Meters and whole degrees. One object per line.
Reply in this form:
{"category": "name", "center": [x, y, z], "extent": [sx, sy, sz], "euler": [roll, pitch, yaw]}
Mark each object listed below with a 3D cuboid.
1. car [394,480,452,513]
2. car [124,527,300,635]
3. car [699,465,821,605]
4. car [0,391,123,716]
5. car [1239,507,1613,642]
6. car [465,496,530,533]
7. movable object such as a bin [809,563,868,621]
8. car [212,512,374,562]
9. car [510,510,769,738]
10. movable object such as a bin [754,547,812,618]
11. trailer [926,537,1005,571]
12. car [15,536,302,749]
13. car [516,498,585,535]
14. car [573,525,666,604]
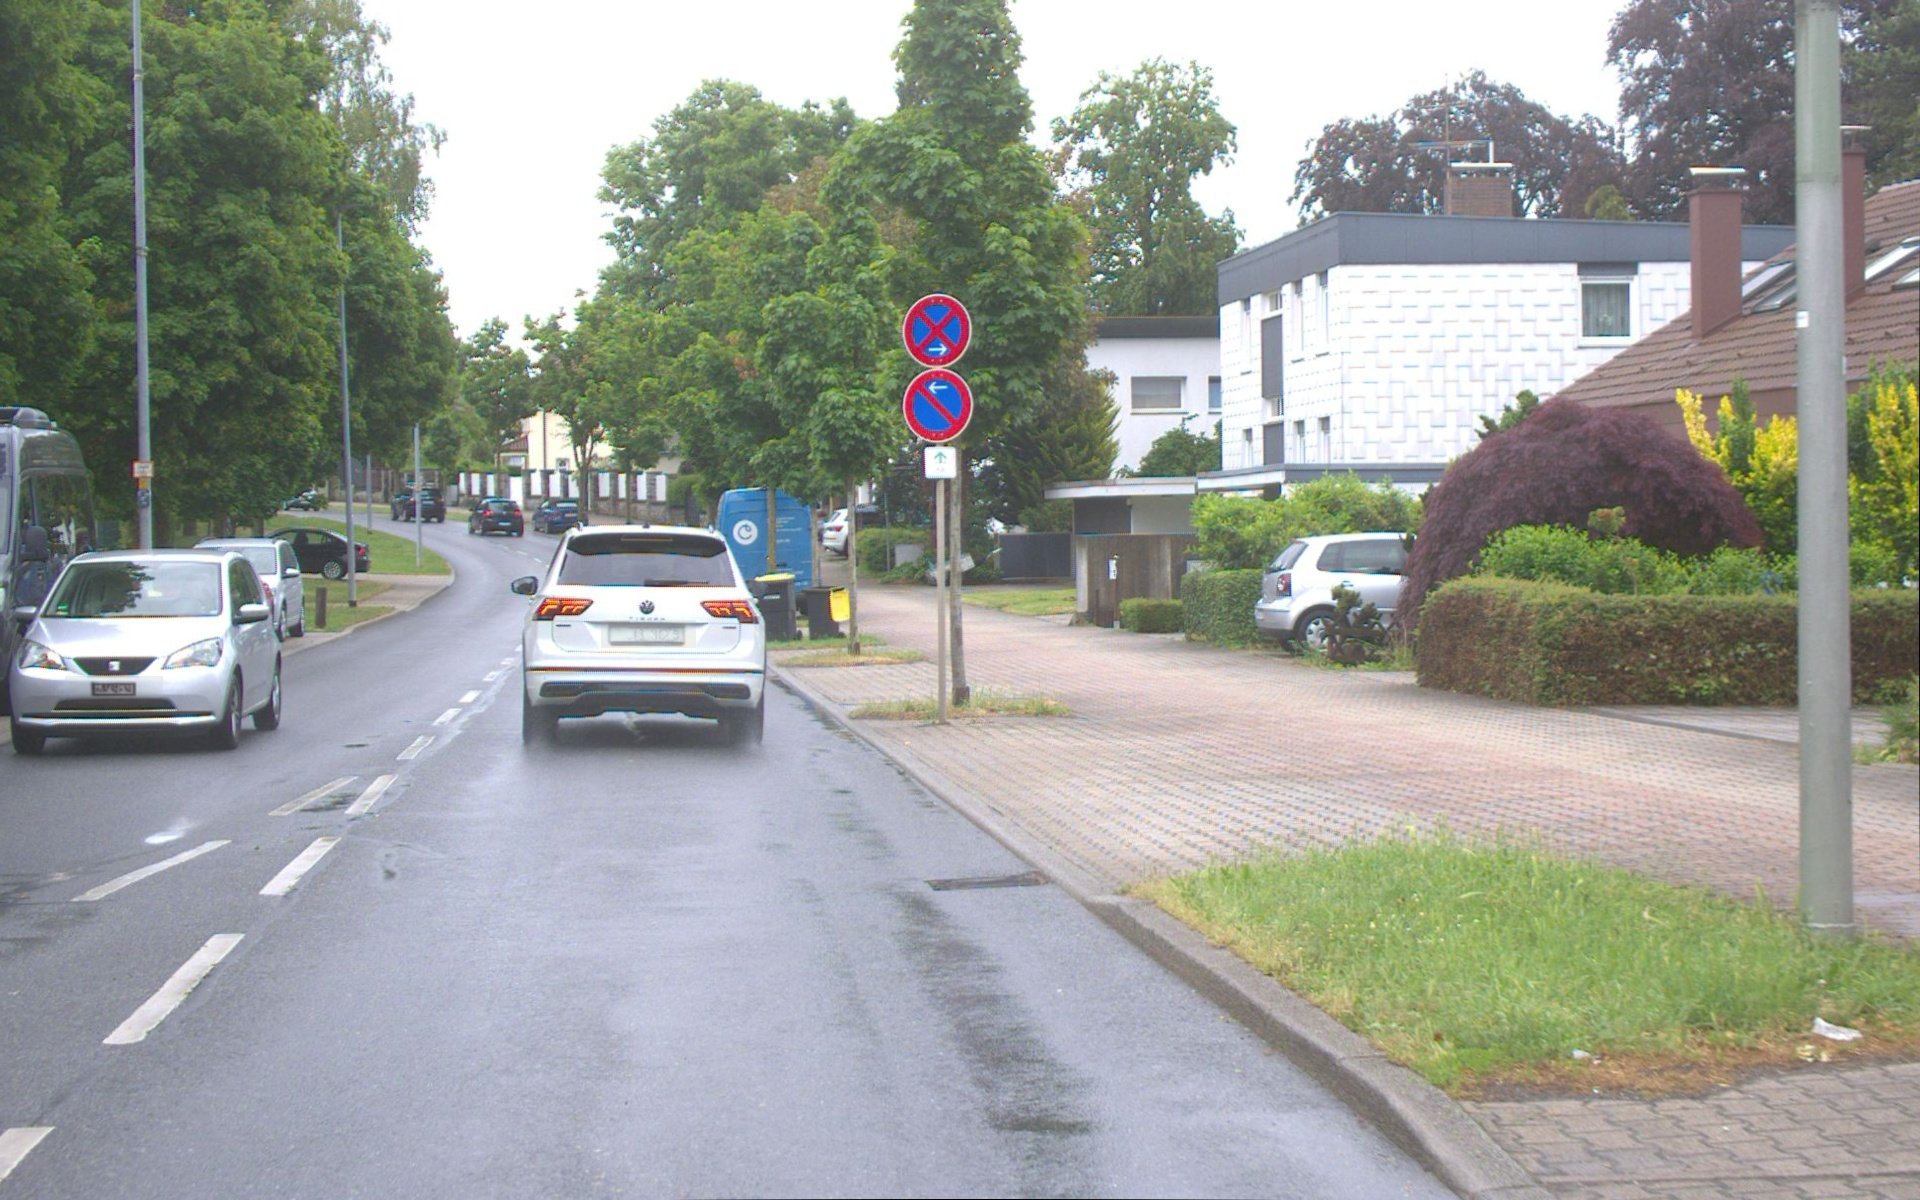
{"category": "car", "center": [-24.264, -4.696, 155.250], "extent": [1.642, 1.422, 4.001], "euler": [-1, 3, -23]}
{"category": "car", "center": [-10.675, -0.310, 49.349], "extent": [1.993, 1.398, 4.558], "euler": [-1, 2, -7]}
{"category": "car", "center": [-4.038, -1.327, 68.482], "extent": [1.993, 2.577, 5.635], "euler": [-3, 2, -6]}
{"category": "car", "center": [-9.153, -0.480, 31.657], "extent": [1.993, 2.719, 5.939], "euler": [0, 2, -6]}
{"category": "car", "center": [5.463, -0.316, 40.550], "extent": [3.986, 1.437, 1.848], "euler": [-2, 1, -7]}
{"category": "car", "center": [-18.843, -3.486, 139.913], "extent": [1.642, 1.422, 4.001], "euler": [-1, 3, -23]}
{"category": "movable object such as a bin", "center": [-1.831, -0.121, 51.739], "extent": [0.660, 0.797, 0.600], "euler": [-4, 1, 20]}
{"category": "car", "center": [-18.570, -1.762, 95.874], "extent": [4.218, 1.358, 1.690], "euler": [0, 2, -1]}
{"category": "car", "center": [-2.555, 0.145, 27.010], "extent": [1.865, 1.645, 4.001], "euler": [0, 1, -7]}
{"category": "movable object such as a bin", "center": [-2.684, -0.270, 52.157], "extent": [0.614, 1.011, 0.562], "euler": [-5, 0, 20]}
{"category": "trailer", "center": [0.142, -1.224, 91.888], "extent": [2.042, 0.880, 1.365], "euler": [0, 2, -3]}
{"category": "car", "center": [-6.063, 0.269, 26.337], "extent": [1.594, 1.459, 3.453], "euler": [-1, 2, -4]}
{"category": "car", "center": [-16.907, -3.462, 141.767], "extent": [1.642, 1.422, 4.001], "euler": [-1, 3, -25]}
{"category": "car", "center": [-7.047, -0.749, 70.897], "extent": [1.768, 1.546, 4.001], "euler": [-1, 1, -7]}
